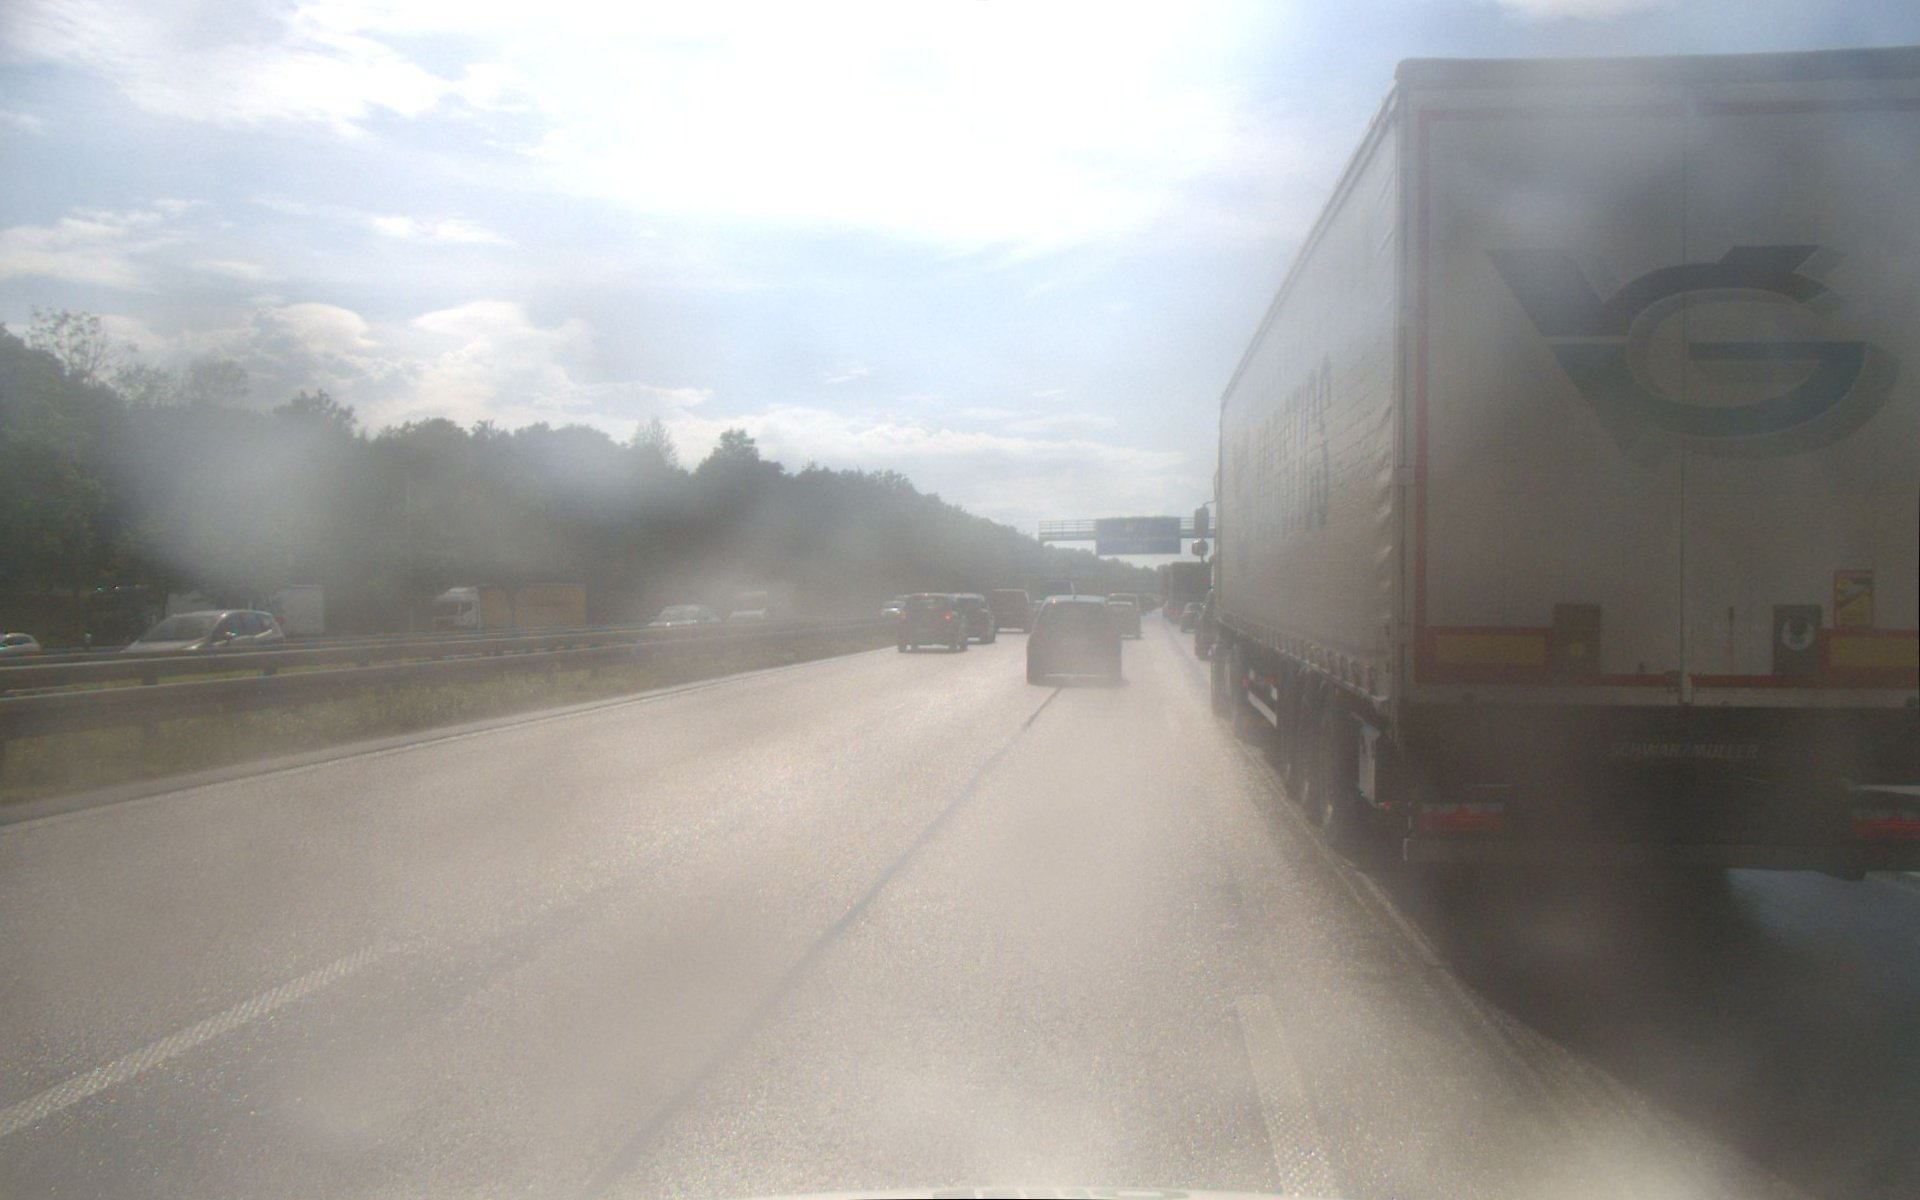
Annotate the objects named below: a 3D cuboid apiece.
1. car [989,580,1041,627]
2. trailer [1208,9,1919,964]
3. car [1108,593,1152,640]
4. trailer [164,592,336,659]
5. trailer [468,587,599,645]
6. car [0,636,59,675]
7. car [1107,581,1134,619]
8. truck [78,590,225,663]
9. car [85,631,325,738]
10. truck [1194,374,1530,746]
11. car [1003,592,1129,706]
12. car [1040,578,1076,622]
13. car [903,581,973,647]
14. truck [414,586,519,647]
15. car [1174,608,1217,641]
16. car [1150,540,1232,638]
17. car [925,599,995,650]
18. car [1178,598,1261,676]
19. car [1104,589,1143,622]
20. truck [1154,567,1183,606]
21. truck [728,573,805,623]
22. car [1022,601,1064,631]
[{"bbox_3d":[2.573,0.163,76.330,1.936,2.090,4.760,1,-1,7],"label":"car"},{"bbox_3d":[4.017,-0.481,13.980,3.214,3.967,14.138,1,0,6],"label":"trailer"},{"bbox_3d":[6.849,0.654,66.884,1.657,1.836,3.978,1,-1,5],"label":"car"},{"bbox_3d":[-41.513,1.440,97.247,3.708,3.713,10.506,-1,0,13],"label":"trailer"},{"bbox_3d":[-32.377,1.252,126.335,3.709,4.189,11.728,1,-1,20],"label":"trailer"},{"bbox_3d":[-45.558,2.639,79.095,2.015,1.748,4.371,1,-1,9],"label":"car"},{"bbox_3d":[12.270,0.048,126.244,1.951,2.794,5.263,1,-1,7],"label":"car"},{"bbox_3d":[-43.367,1.399,88.932,3.707,3.724,6.710,1,-1,12],"label":"truck"},{"bbox_3d":[-15.096,1.626,33.428,2.251,1.924,4.782,1,0,6],"label":"car"},{"bbox_3d":[4.774,-0.444,21.018,3.215,3.959,6.400,1,0,5],"label":"truck"},{"bbox_3d":[2.102,0.887,31.887,2.226,1.989,4.824,1,-1,5],"label":"car"},{"bbox_3d":[6.238,0.033,104.687,1.951,2.661,5.263,1,-1,7],"label":"car"},{"bbox_3d":[-0.611,0.409,48.592,1.657,1.836,3.978,1,-1,5],"label":"car"},{"bbox_3d":[-35.210,1.149,118.391,3.709,4.189,7.047,1,-1,20],"label":"truck"},{"bbox_3d":[11.532,1.196,81.153,1.825,1.542,3.978,1,0,4],"label":"car"},{"bbox_3d":[15.218,-0.604,110.322,4.311,5.932,16.826,1,0,4],"label":"car"},{"bbox_3d":[0.047,0.851,58.028,1.868,1.665,4.620,-1,-1,7],"label":"car"},{"bbox_3d":[6.994,0.963,45.031,1.900,1.952,5.655,1,0,6],"label":"car"},{"bbox_3d":[7.931,0.262,80.475,1.825,1.542,3.978,1,0,4],"label":"car"},{"bbox_3d":[20.253,-1.294,160.954,2.716,3.695,5.921,1,-1,7],"label":"truck"},{"bbox_3d":[-11.025,-0.096,94.973,2.782,2.729,7.196,1,0,7],"label":"truck"},{"bbox_3d":[4.533,0.873,89.869,1.951,1.592,4.760,1,0,7],"label":"car"}]
